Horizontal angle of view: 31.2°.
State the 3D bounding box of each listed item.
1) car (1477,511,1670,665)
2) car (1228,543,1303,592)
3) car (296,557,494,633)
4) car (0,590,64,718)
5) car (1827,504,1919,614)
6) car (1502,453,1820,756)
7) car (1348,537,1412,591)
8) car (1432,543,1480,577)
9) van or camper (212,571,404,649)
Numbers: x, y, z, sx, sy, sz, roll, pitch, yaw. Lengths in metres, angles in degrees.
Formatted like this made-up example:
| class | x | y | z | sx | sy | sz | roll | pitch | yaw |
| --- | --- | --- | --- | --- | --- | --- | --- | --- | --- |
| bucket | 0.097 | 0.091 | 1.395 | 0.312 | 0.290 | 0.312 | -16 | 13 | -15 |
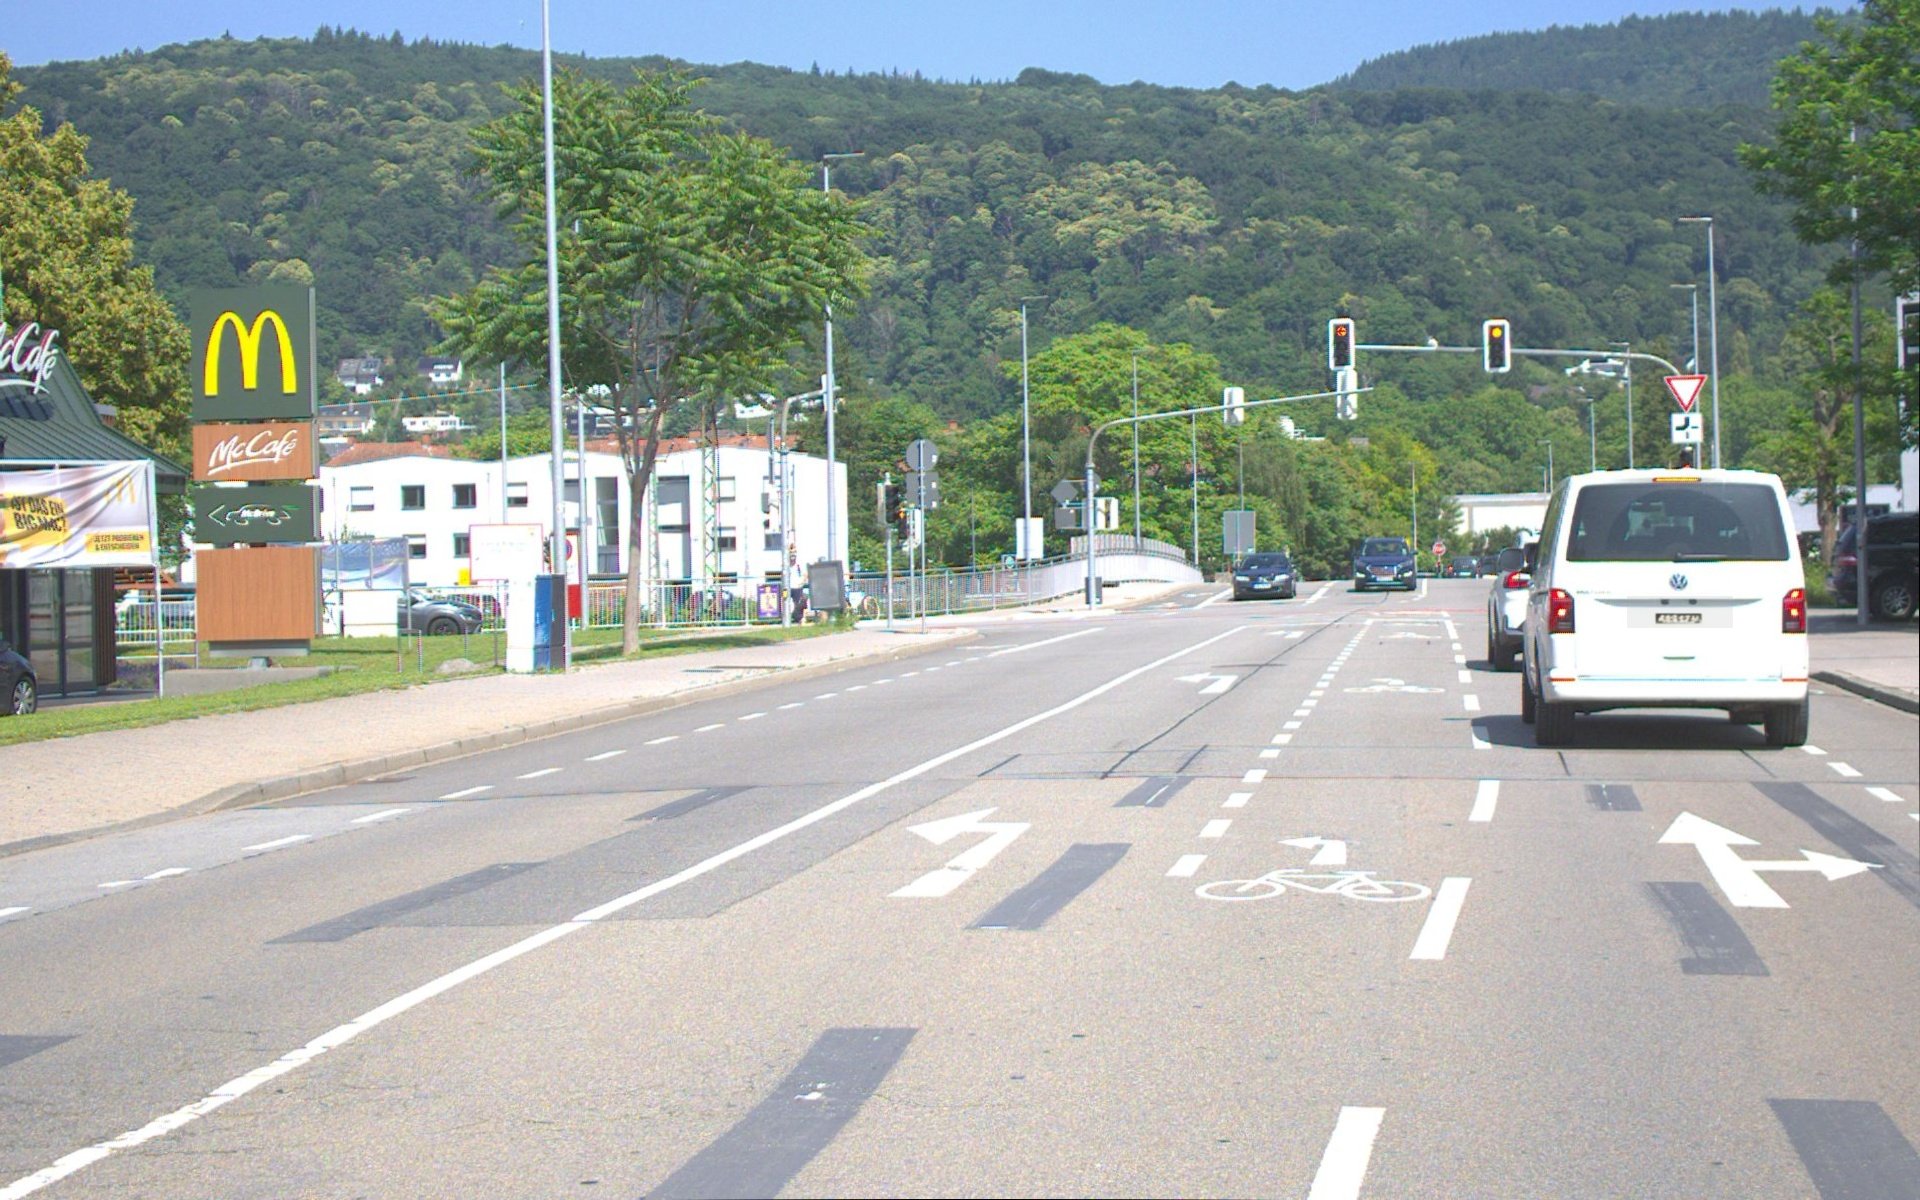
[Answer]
| class | x | y | z | sx | sy | sz | roll | pitch | yaw |
| --- | --- | --- | --- | --- | --- | --- | --- | --- | --- |
| car | 7.122 | -0.180 | 40.284 | 1.935 | 1.681 | 4.543 | 1 | 1 | 7 |
| car | 9.242 | -0.984 | 103.849 | 1.994 | 1.365 | 4.325 | -2 | 1 | 8 |
| car | -13.010 | -0.134 | 79.349 | 4.314 | 1.587 | 2.000 | -2 | 1 | -5 |
| car | -11.993 | 0.625 | 39.012 | 1.994 | 1.411 | 4.128 | 1 | 1 | 10 |
| car | 16.433 | -0.722 | 56.887 | 3.989 | 1.769 | 1.999 | -1 | 1 | 14 |
| car | 5.143 | -0.030 | 25.757 | 1.935 | 2.052 | 4.543 | 1 | 1 | 7 |
| car | 13.116 | -1.146 | 107.102 | 1.850 | 1.583 | 3.999 | -2 | 1 | 8 |
| car | 24.000 | -1.951 | 166.394 | 1.994 | 1.525 | 4.044 | 2 | 1 | 4 |
| van or camper | -13.999 | 0.198 | 73.987 | 3.986 | 1.568 | 2.001 | 1 | 1 | -10 |
